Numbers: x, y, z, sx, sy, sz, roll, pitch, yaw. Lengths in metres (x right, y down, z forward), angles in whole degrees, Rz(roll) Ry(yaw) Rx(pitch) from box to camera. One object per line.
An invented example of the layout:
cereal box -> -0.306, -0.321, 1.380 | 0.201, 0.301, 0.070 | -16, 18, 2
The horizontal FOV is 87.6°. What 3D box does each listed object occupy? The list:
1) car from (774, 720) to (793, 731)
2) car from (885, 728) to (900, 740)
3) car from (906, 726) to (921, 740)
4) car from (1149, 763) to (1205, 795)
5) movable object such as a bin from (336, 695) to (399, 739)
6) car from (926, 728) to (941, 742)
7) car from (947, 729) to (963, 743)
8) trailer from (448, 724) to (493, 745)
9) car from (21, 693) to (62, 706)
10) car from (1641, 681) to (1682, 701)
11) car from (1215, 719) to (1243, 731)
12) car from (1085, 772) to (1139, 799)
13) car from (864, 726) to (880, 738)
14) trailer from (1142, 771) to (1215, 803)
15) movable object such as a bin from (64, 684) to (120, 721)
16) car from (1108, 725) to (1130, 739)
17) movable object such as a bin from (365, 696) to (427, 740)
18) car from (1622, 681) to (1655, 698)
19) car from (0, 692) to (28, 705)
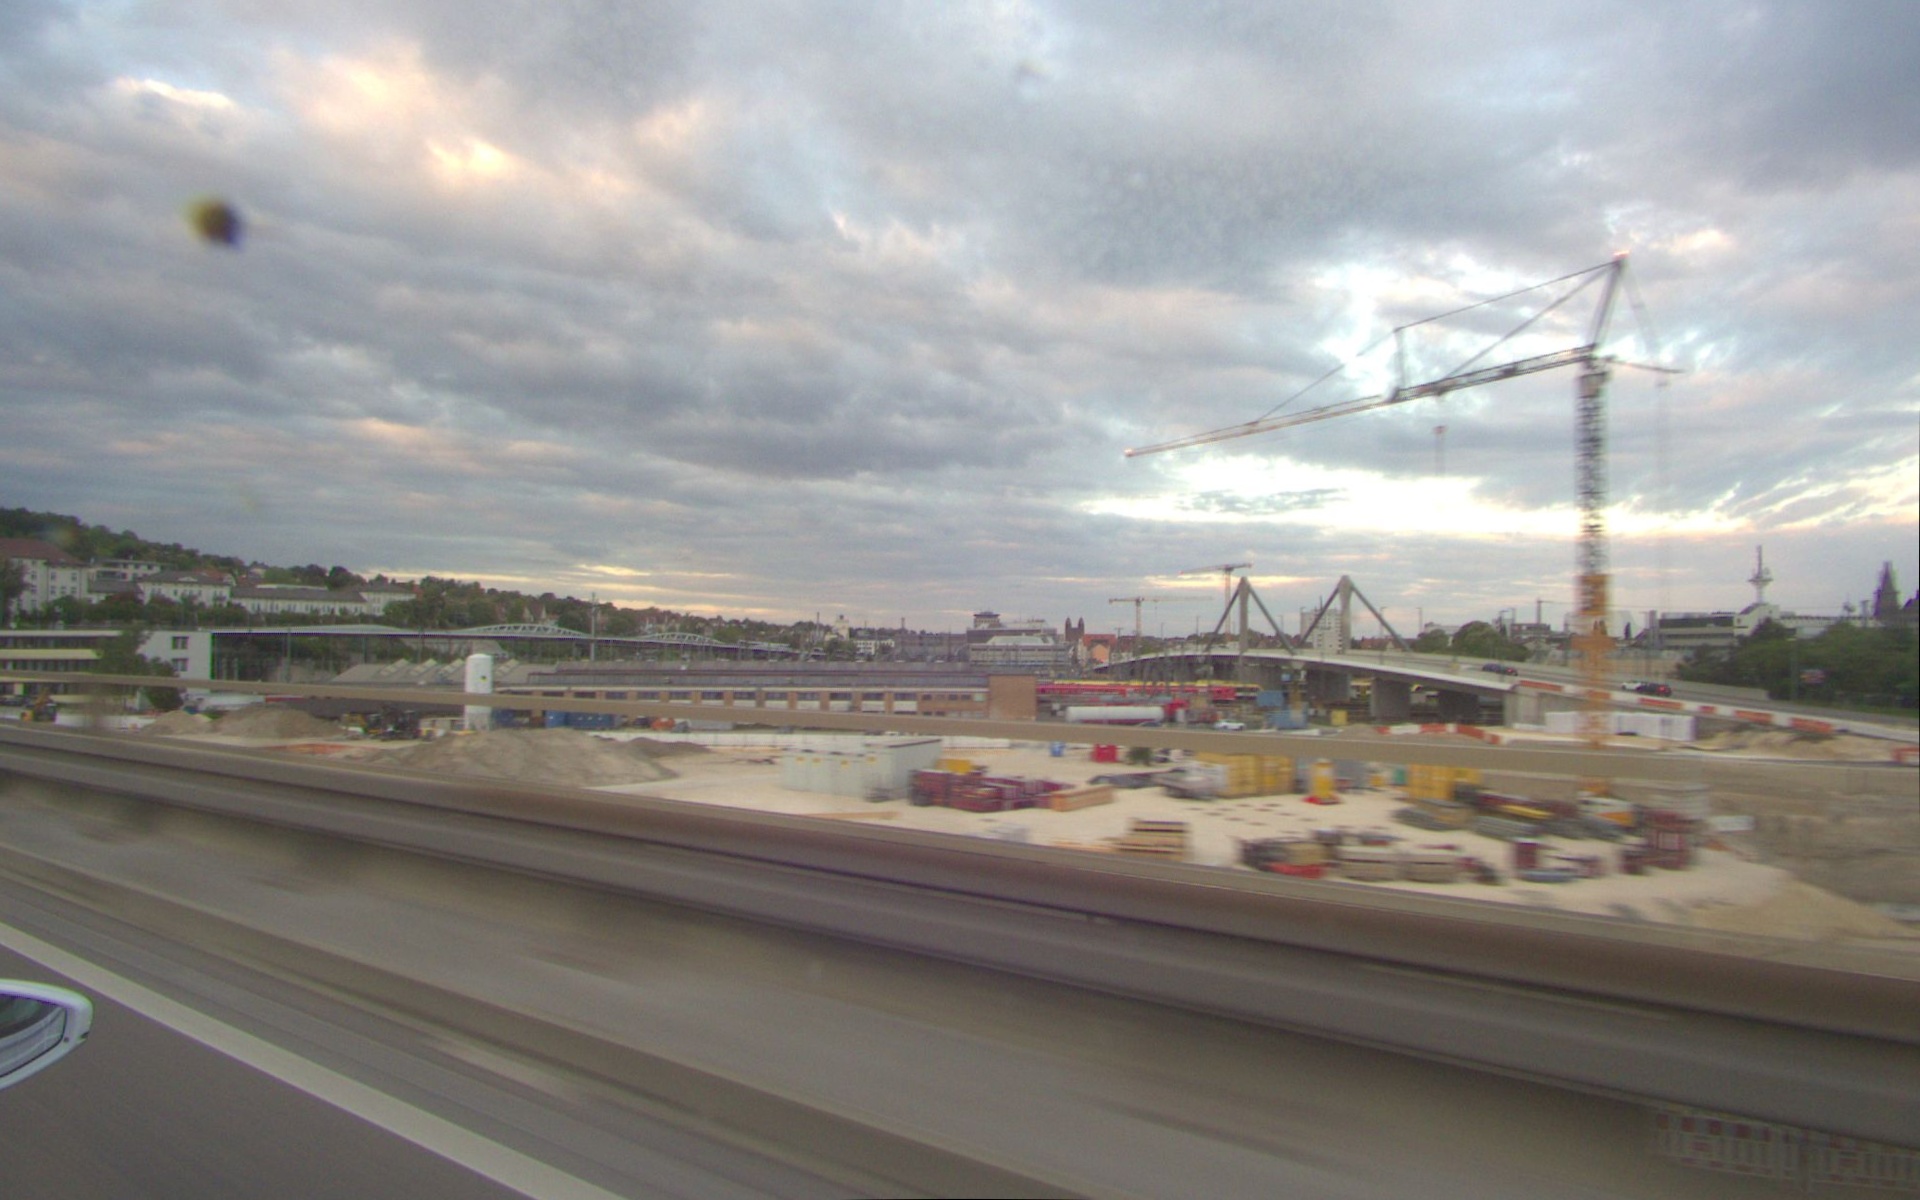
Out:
car -> -23.721, 16.867, 134.467 | 1.835, 1.435, 4.009 | 4, -7, -2
car -> -9.023, 17.863, 133.868 | 1.835, 1.435, 4.009 | 4, -7, -2
car -> -6.246, 17.852, 134.052 | 1.835, 1.733, 4.009 | 4, -7, -2
car -> 15.745, 13.040, 72.934 | 1.664, 1.942, 3.982 | 8, -8, -30
movable object such as a bin -> -64.165, 12.717, 108.581 | 2.733, 4.356, 4.965 | 1, -7, 15
car -> -3.550, 17.978, 133.633 | 1.835, 1.669, 4.009 | 4, -7, -2
car -> -0.694, 18.102, 133.274 | 1.835, 1.669, 4.009 | 4, -7, -2
trailer -> -49.014, 13.484, 100.283 | 3.778, 1.823, 2.000 | 1, -7, 23
car -> -123.882, 13.449, 135.134 | 1.797, 1.583, 4.006 | 5, -6, -4
car -> 89.983, 11.628, 128.490 | 1.962, 2.039, 3.998 | 5, 0, -5
car -> 39.797, 18.490, 148.133 | 3.619, 1.593, 1.440 | 5, -7, -11
car -> 10.287, 12.637, 68.151 | 1.510, 1.457, 3.779 | 8, -8, -31
car -> -11.807, 17.642, 133.935 | 1.835, 1.435, 4.009 | 4, -7, -2
trailer -> 12.756, 10.922, 58.653 | 1.761, 1.256, 4.229 | 4, -4, -32
movable object such as a bin -> -111.526, 13.173, 128.664 | 4.867, 4.356, 2.788 | 1, -7, 17
car -> 21.278, 17.621, 134.037 | 1.835, 1.539, 4.348 | 0, -4, -6
movable object such as a bin -> -60.457, 12.676, 107.449 | 2.733, 4.356, 4.965 | 1, -7, 15
car -> 91.550, 12.072, 135.106 | 1.565, 1.761, 3.704 | 5, 0, -5
car -> -130.617, 13.530, 137.389 | 1.797, 1.583, 4.006 | 5, -6, -4
